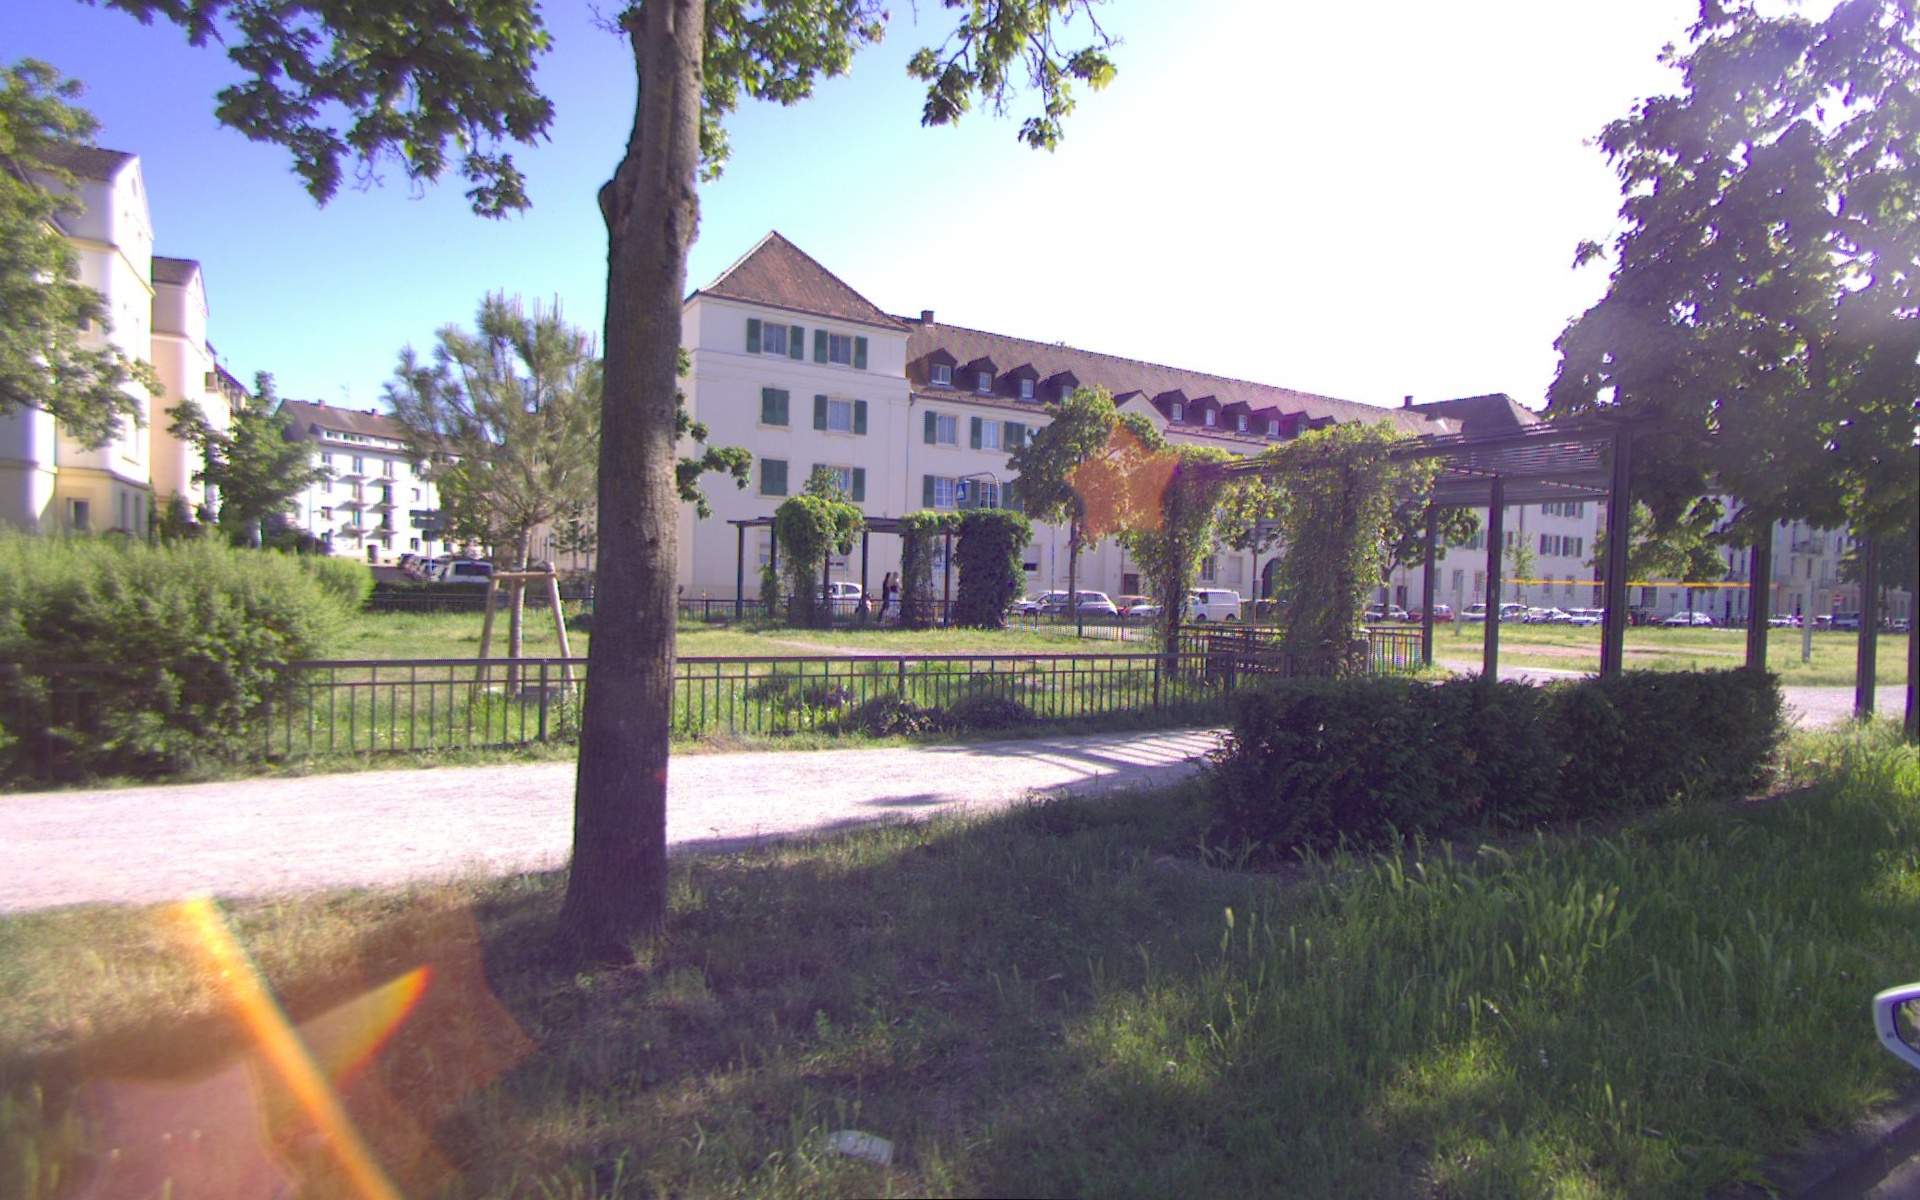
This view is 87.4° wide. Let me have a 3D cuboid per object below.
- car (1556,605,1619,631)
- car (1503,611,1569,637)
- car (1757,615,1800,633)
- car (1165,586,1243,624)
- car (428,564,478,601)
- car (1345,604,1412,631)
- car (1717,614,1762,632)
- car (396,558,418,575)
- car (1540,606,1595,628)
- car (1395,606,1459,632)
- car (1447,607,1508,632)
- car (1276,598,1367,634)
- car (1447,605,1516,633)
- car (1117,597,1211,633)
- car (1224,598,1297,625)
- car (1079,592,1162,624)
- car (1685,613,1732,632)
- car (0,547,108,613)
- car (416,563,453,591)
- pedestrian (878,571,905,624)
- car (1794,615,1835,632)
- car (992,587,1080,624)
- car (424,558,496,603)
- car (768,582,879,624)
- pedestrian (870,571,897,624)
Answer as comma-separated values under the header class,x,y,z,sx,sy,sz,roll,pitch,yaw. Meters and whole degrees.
class,x,y,z,sx,sy,sz,roll,pitch,yaw
car,40.419,1.169,64.722,3.953,1.530,1.785,1,1,-30
car,35.650,1.477,62.126,3.953,1.530,1.785,1,1,-30
car,75.096,2.192,92.159,3.954,1.530,1.785,1,1,-31
car,13.204,0.292,54.298,3.953,1.935,1.785,1,1,-30
car,-23.445,-0.828,46.409,1.780,1.587,3.966,1,1,-31
car,25.859,1.095,62.105,3.953,1.530,1.785,1,1,-30
car,69.389,2.038,89.415,4.095,1.530,1.785,1,1,-30
car,-53.234,-3.220,96.781,1.778,1.530,3.970,1,1,-28
car,44.832,1.253,74.070,3.953,1.530,1.785,1,1,-30
car,30.176,1.218,64.891,3.953,1.530,1.785,1,1,-30
car,35.007,1.310,67.932,3.953,1.530,1.785,1,1,-30
car,18.513,0.838,51.437,4.647,1.733,1.785,1,1,-30
car,31.022,1.131,59.716,3.953,1.530,1.785,1,1,-30
car,9.262,0.689,45.583,3.953,1.530,1.785,1,1,-30
car,17.101,0.661,57.118,3.953,1.403,1.785,1,1,-30
car,8.219,0.425,51.281,3.953,1.530,1.785,1,1,-30
car,64.960,1.984,87.158,3.953,1.530,1.785,1,1,-30
car,-27.627,-0.609,28.980,4.408,1.840,1.784,1,1,-32
car,-31.397,-1.379,60.002,1.779,1.530,3.967,1,1,-30
pedestrian,-2.229,-0.081,32.721,0.642,1.721,0.645,1,0,-30
car,83.103,2.296,97.717,3.953,1.530,1.785,1,1,-30
car,3.699,0.271,48.743,3.956,1.633,1.784,1,1,-33
car,-19.880,-0.793,39.856,1.784,1.674,3.956,1,1,-38
car,-5.356,0.110,39.495,3.953,1.530,1.785,1,1,-30
pedestrian,-2.540,-0.073,33.340,0.642,1.721,0.645,1,0,-30
